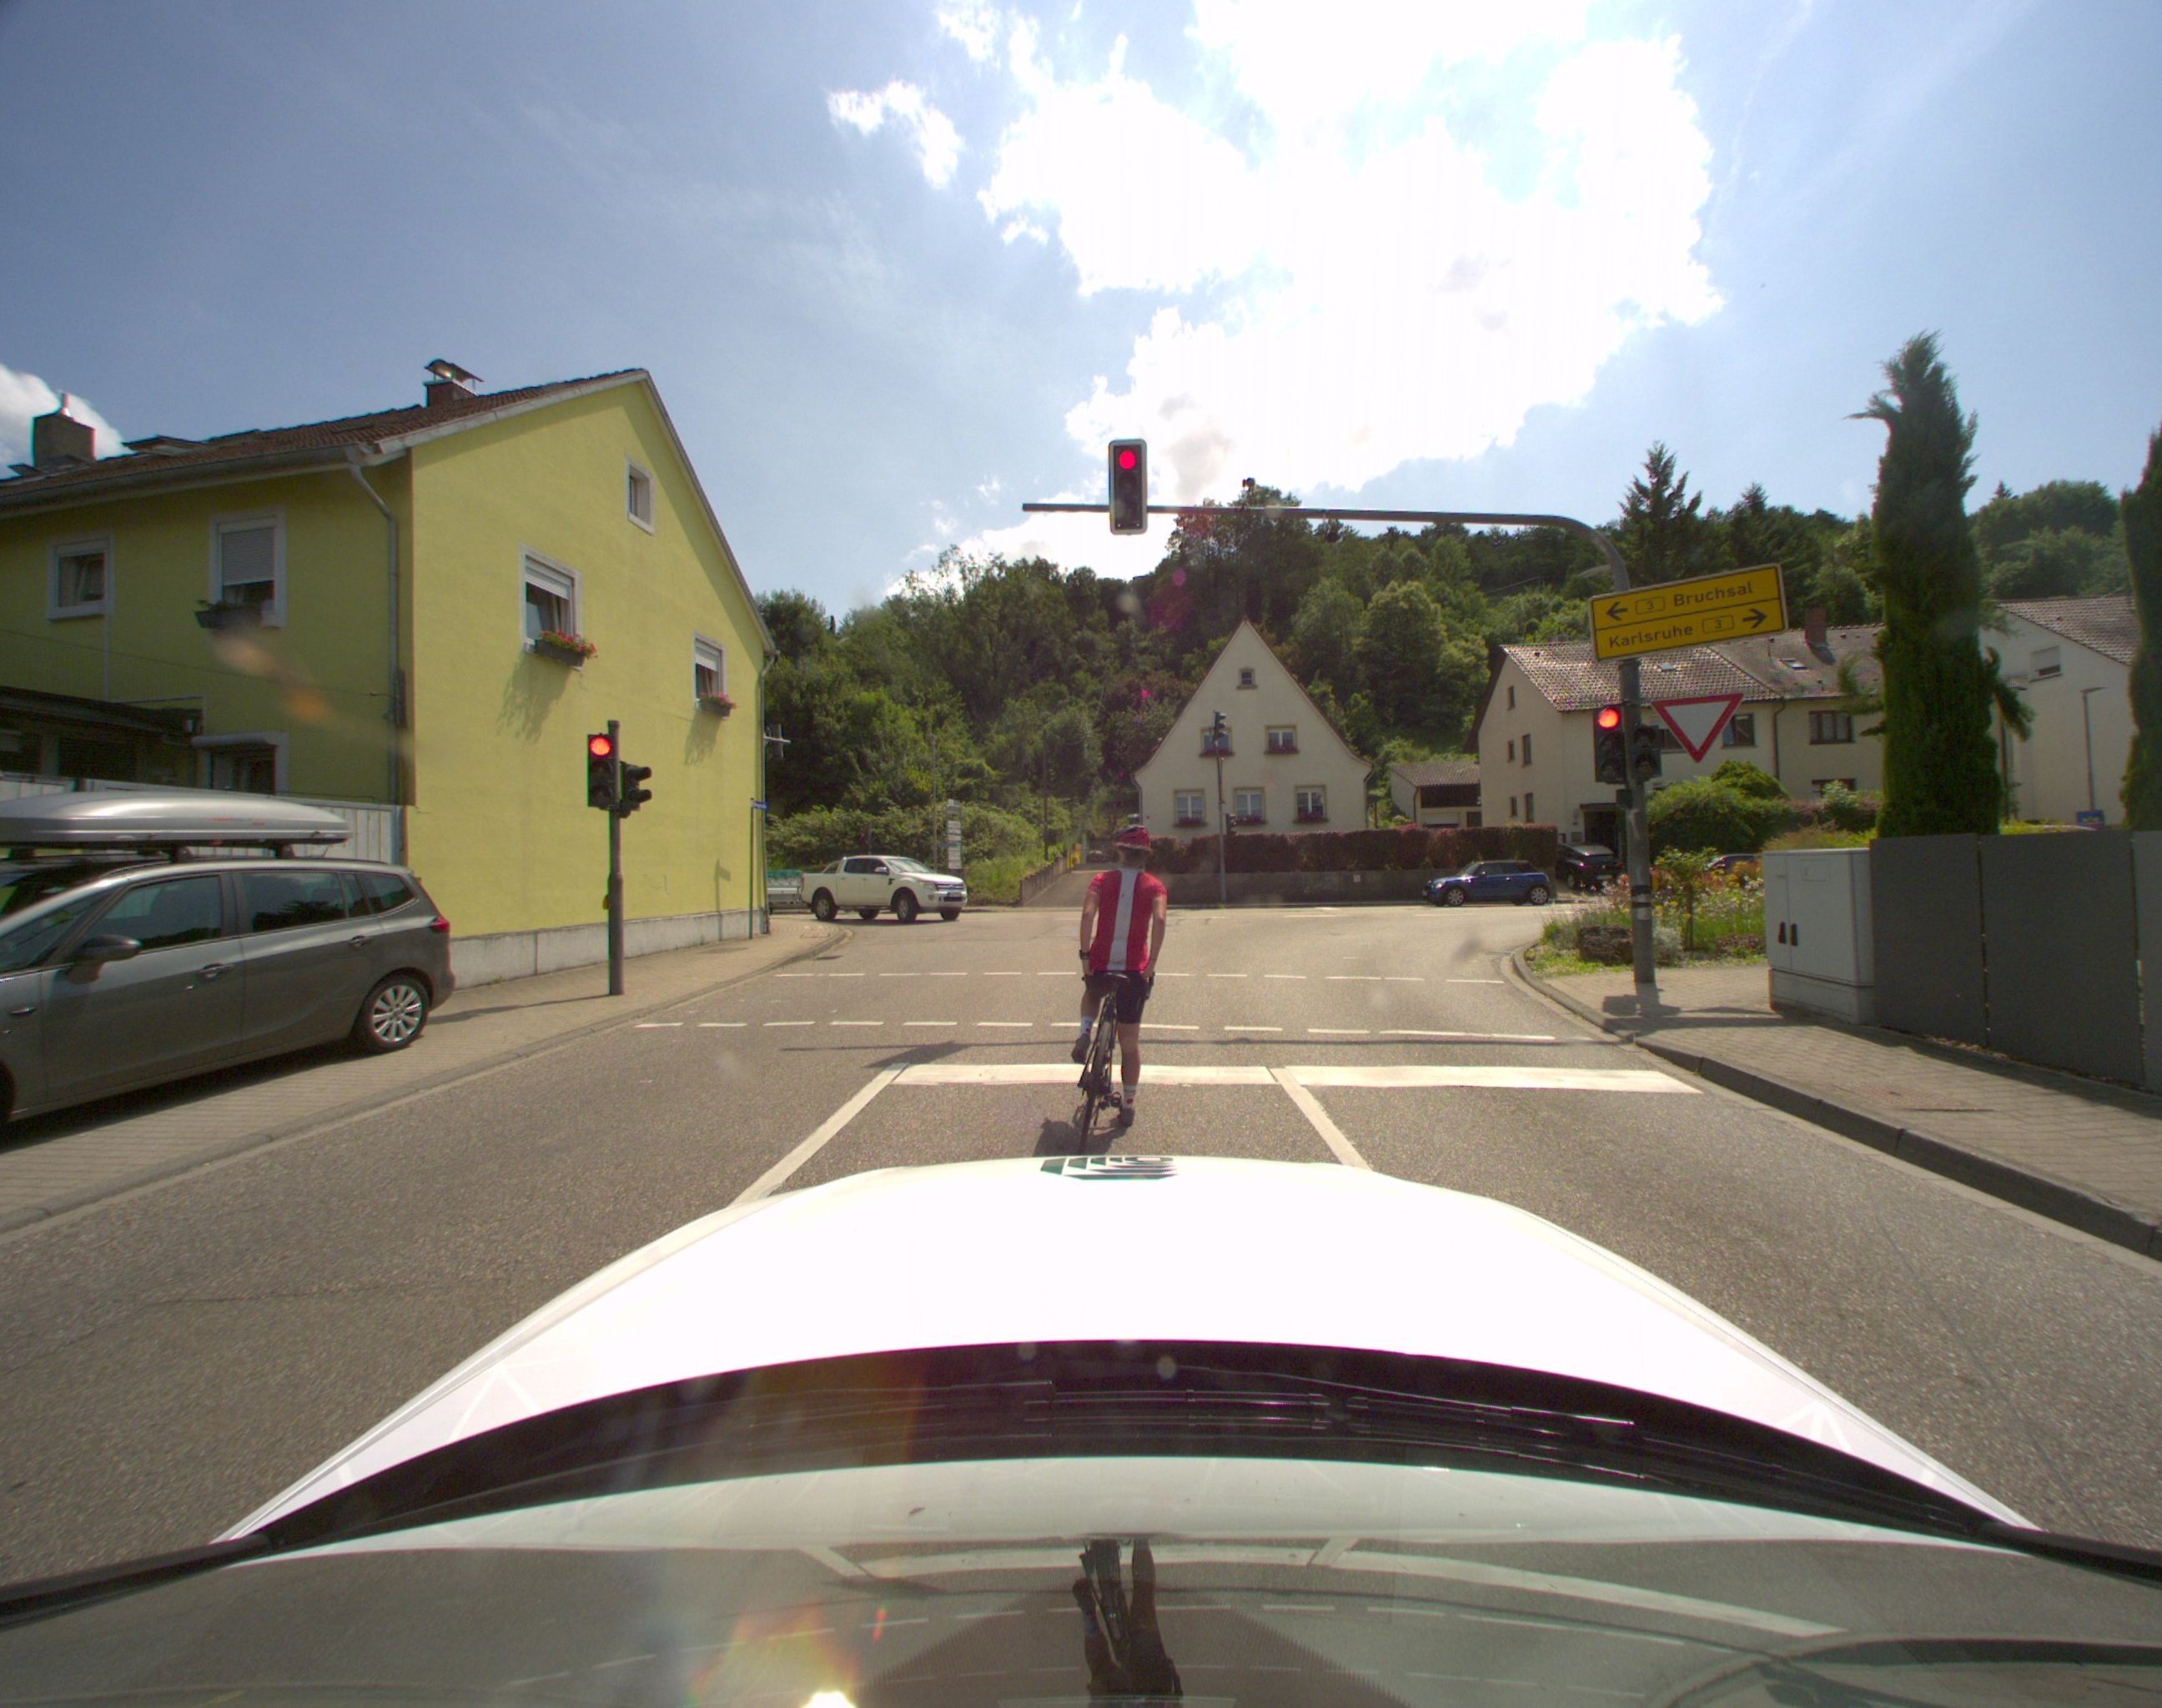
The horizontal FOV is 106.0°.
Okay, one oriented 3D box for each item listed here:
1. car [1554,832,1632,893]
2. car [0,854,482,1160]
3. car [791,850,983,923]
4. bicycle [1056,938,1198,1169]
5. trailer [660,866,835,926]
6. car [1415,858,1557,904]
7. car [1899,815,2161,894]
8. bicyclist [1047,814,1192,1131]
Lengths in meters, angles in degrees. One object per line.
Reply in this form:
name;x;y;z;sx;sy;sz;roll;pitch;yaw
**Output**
car;18.875;0.274;30.204;1.780;1.388;3.709;-1;13;21
car;-6.729;0.820;5.380;1.986;1.635;4.632;0;0;2
car;-5.441;0.918;22.555;5.245;1.775;1.991;-3;-1;32
bicycle;0.190;1.015;4.629;0.628;0.905;1.655;0;0;-3
trailer;-10.023;1.250;24.677;4.407;1.539;1.983;-3;0;7
car;12.547;0.872;25.412;3.590;1.363;1.647;-1;-3;6
car;24.248;0.050;20.569;4.848;1.822;2.003;-1;-3;6
bicyclist;0.186;0.623;4.738;0.759;1.664;0.867;0;-1;-3
